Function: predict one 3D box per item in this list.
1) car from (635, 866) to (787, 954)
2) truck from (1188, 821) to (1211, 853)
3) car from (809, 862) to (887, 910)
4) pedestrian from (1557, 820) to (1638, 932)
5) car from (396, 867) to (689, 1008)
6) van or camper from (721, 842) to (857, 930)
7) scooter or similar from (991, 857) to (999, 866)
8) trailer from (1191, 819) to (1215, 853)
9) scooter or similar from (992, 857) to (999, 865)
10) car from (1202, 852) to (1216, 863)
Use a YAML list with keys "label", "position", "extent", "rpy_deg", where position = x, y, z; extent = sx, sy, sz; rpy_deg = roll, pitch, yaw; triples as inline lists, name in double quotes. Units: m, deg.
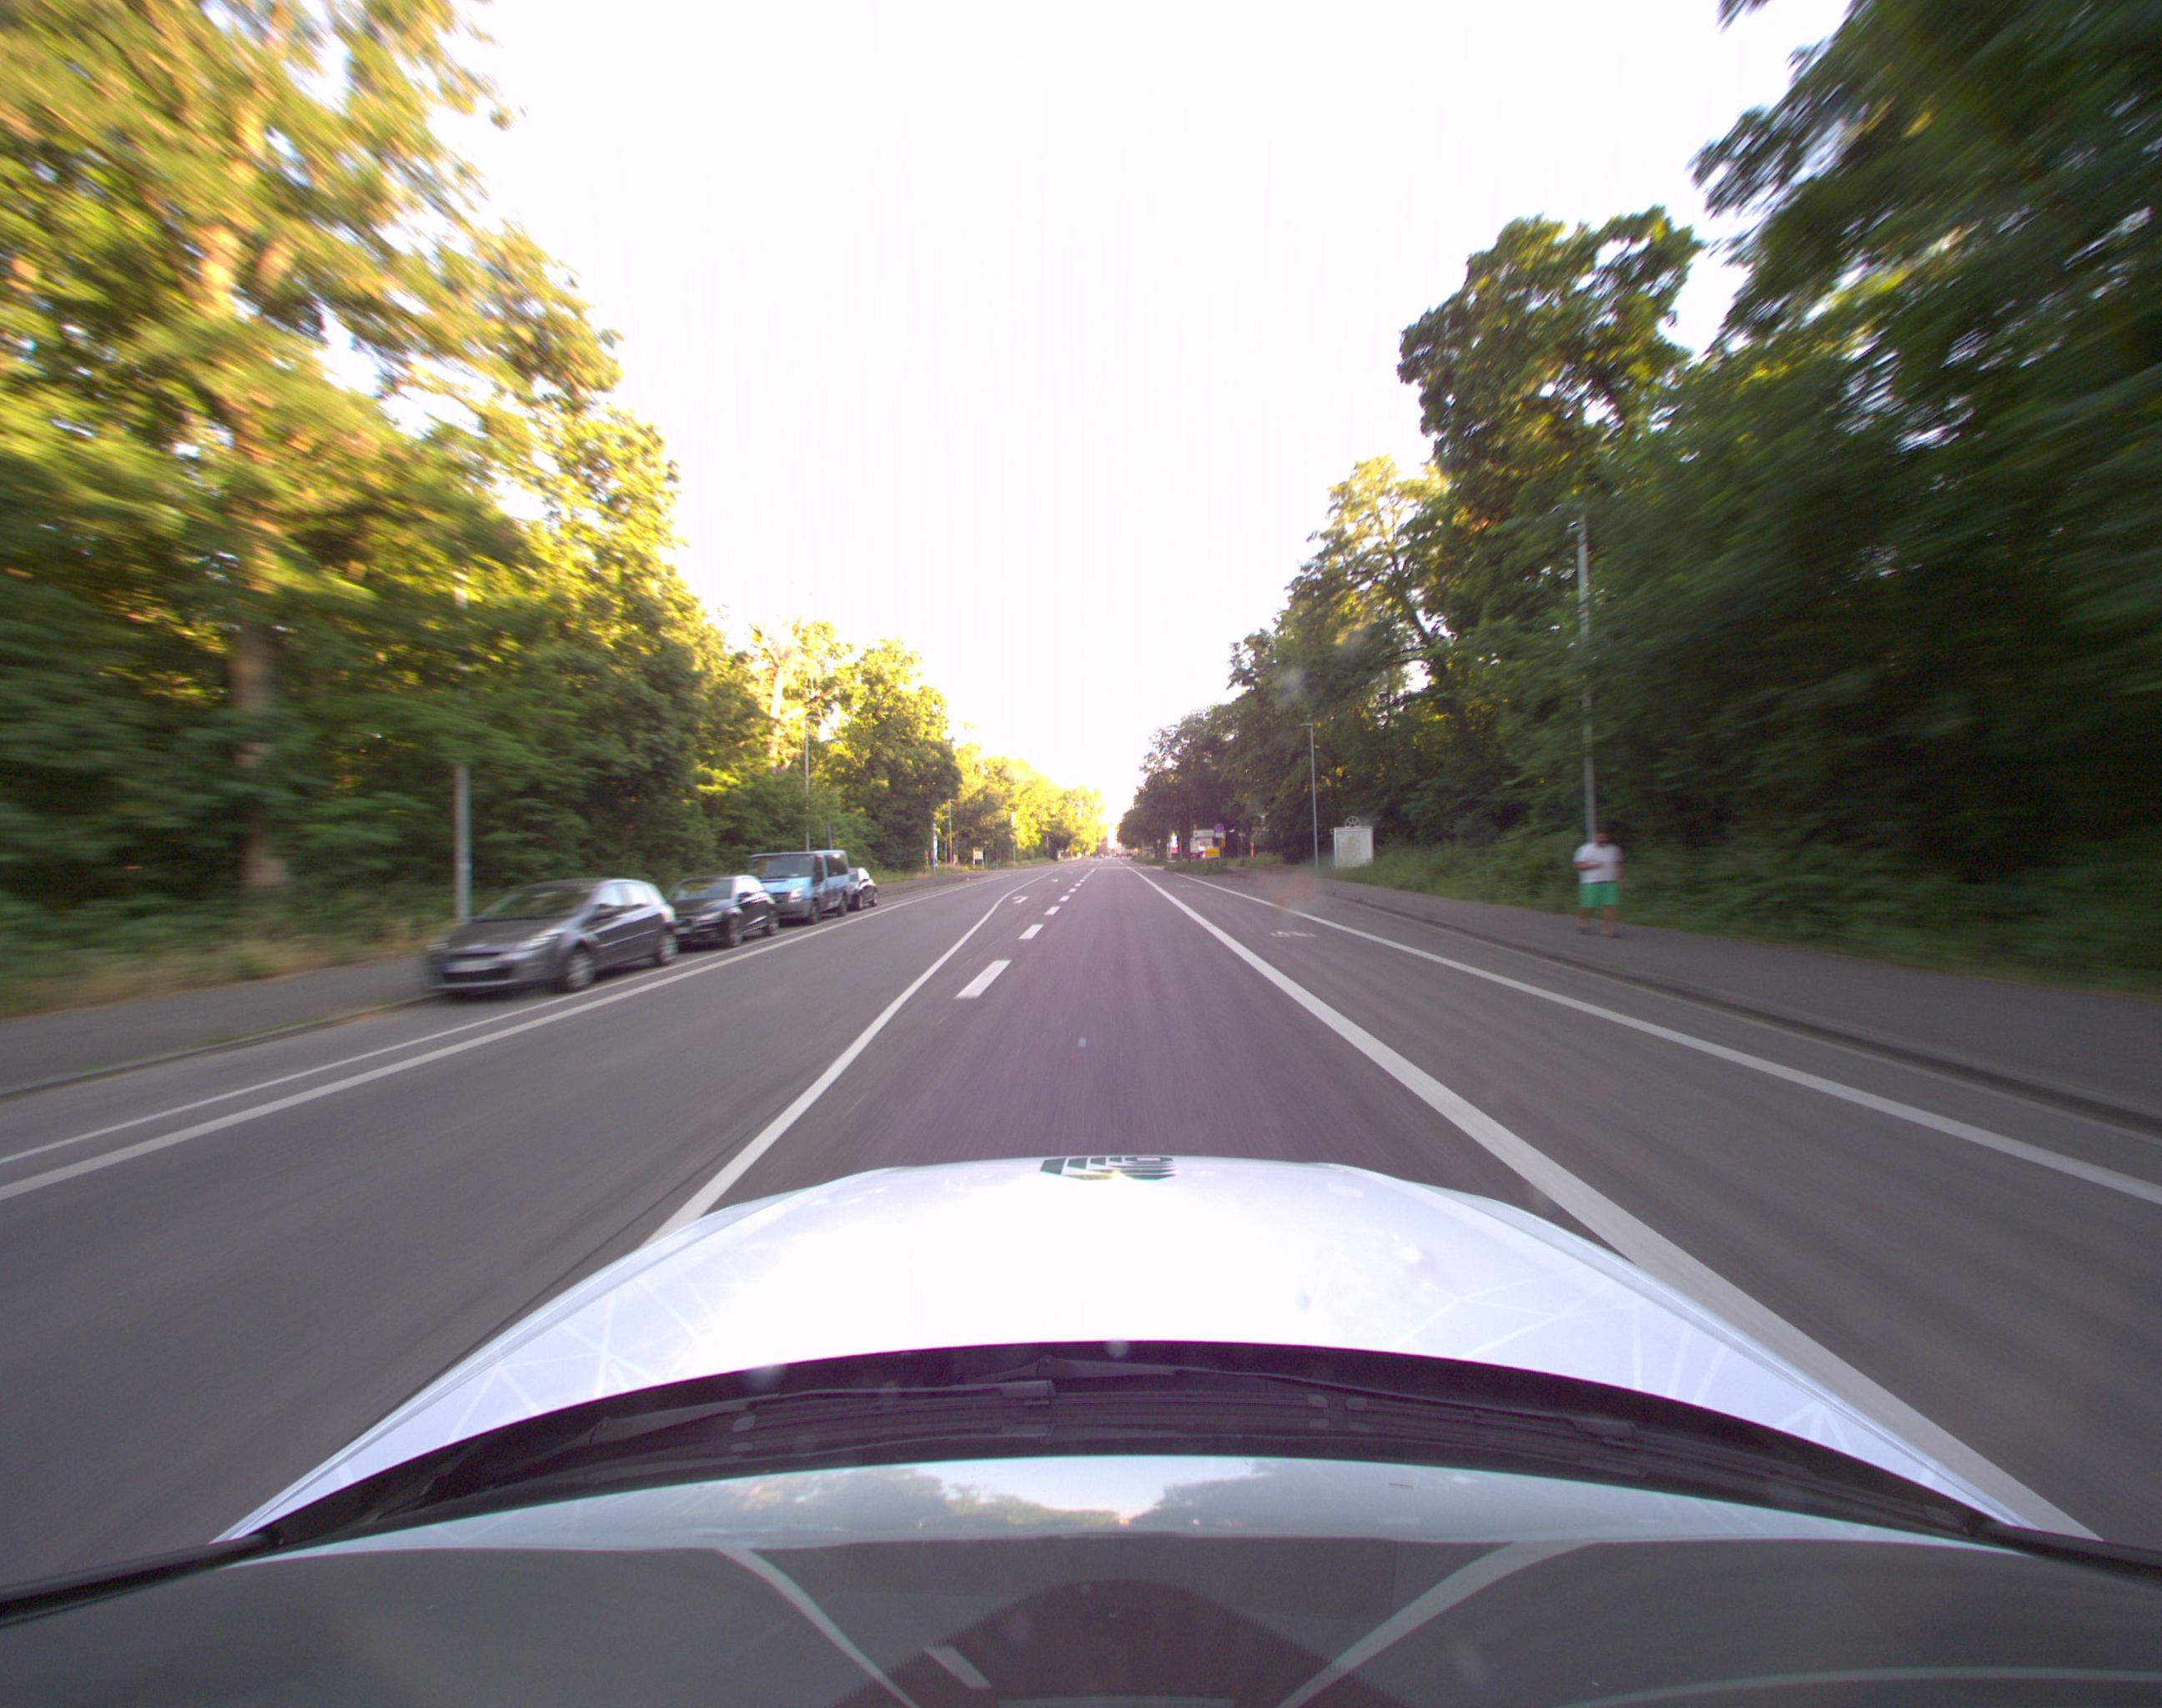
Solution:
- label: "car"
  position: [-7.530, 1.057, 17.000]
  extent: [1.540, 1.493, 3.966]
  rpy_deg: [-3, 0, -4]
- label: "truck"
  position: [20.667, -2.975, 142.770]
  extent: [3.021, 5.455, 8.416]
  rpy_deg: [-1, 0, 3]
- label: "car"
  position: [-8.163, 1.061, 28.844]
  extent: [1.683, 1.462, 4.238]
  rpy_deg: [-3, 0, -3]
- label: "pedestrian"
  position: [8.377, 0.351, 13.244]
  extent: [0.835, 1.751, 0.726]
  rpy_deg: [-1, 0, 2]
- label: "car"
  position: [-7.397, 1.026, 11.746]
  extent: [1.613, 1.534, 4.035]
  rpy_deg: [-3, 0, -3]
- label: "van or camper"
  position: [-8.002, 0.798, 22.875]
  extent: [2.026, 2.094, 5.010]
  rpy_deg: [-3, 0, -2]
- label: "scooter or similar"
  position: [-10.839, 0.947, 102.376]
  extent: [0.357, 1.110, 0.885]
  rpy_deg: [-2, 0, 44]
- label: "trailer"
  position: [20.322, -2.935, 135.910]
  extent: [3.008, 5.462, 7.940]
  rpy_deg: [-1, 0, 3]
- label: "scooter or similar"
  position: [-11.100, 0.944, 105.736]
  extent: [0.901, 1.068, 0.492]
  rpy_deg: [-2, 0, -24]
- label: "car"
  position: [19.371, 0.532, 123.544]
  extent: [1.761, 1.583, 4.826]
  rpy_deg: [0, 0, 6]
